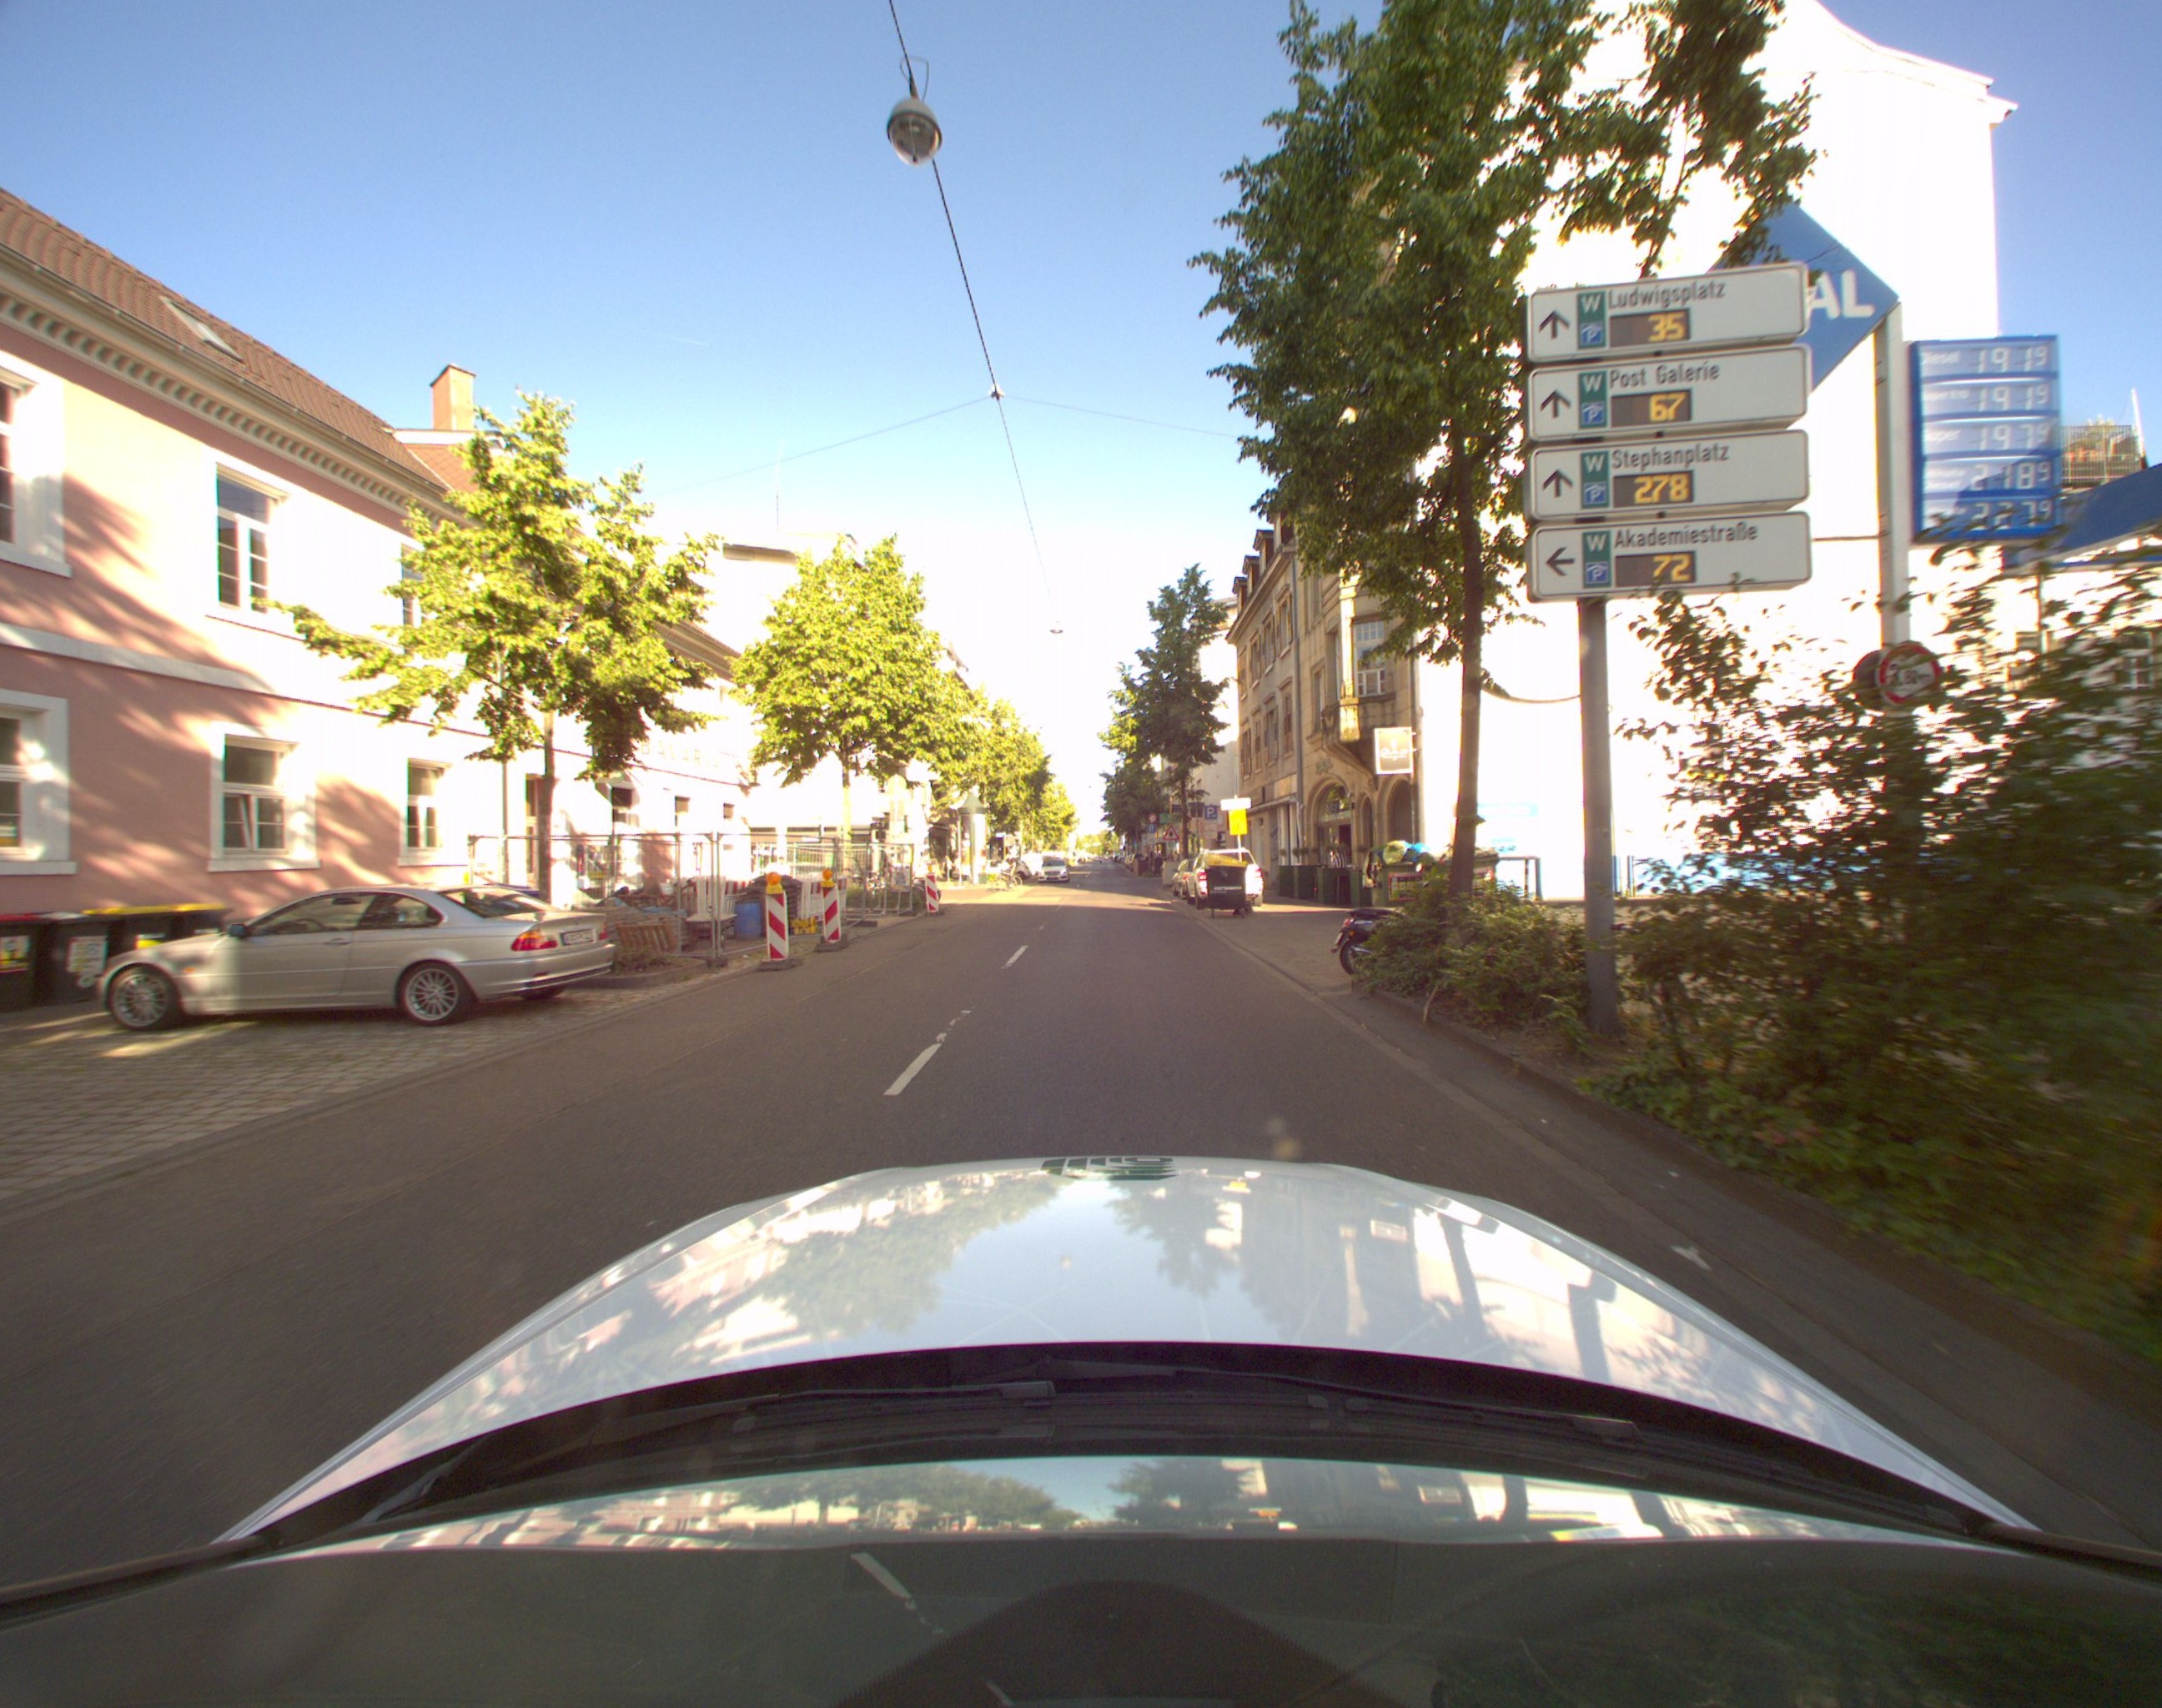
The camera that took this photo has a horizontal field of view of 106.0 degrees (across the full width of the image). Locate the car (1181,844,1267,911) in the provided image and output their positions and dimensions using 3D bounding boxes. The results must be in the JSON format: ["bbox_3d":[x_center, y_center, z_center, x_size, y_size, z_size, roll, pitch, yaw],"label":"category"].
[{"bbox_3d":[4.144,0.643,24.331,1.815,1.679,4.603,-4,0,2],"label":"car"}]

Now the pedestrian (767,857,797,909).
[{"bbox_3d":[-9.803,0.953,26.725,0.608,1.653,0.814,-2,0,5],"label":"pedestrian"}]

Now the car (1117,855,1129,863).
[{"bbox_3d":[8.095,0.973,157.212,1.986,1.508,4.001,-1,-1,1],"label":"car"}]

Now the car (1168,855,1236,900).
[{"bbox_3d":[4.322,0.784,29.650,1.816,1.391,4.301,-4,0,1],"label":"car"}]

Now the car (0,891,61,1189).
[{"bbox_3d":[-7.669,0.957,3.285,4.668,1.465,1.807,-1,0,-2],"label":"car"}]

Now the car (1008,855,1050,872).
[{"bbox_3d":[-5.228,0.972,82.320,3.974,1.500,2.000,-2,-1,0],"label":"car"}]

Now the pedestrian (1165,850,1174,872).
[{"bbox_3d":[6.953,0.553,64.162,0.546,1.649,0.663,-2,0,-5],"label":"pedestrian"}]

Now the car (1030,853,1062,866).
[{"bbox_3d":[-4.433,0.733,104.699,3.974,1.500,2.000,-2,0,0],"label":"car"}]

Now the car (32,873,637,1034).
[{"bbox_3d":[-7.604,0.965,8.692,4.668,1.412,1.807,-1,0,-2],"label":"car"}]

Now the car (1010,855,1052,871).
[{"bbox_3d":[-4.903,0.870,79.973,3.974,1.500,2.000,-2,0,0],"label":"car"}]

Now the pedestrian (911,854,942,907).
[{"bbox_3d":[-5.127,0.868,26.959,0.797,1.707,0.759,0,0,-32],"label":"pedestrian"}]

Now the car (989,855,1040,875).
[{"bbox_3d":[-5.559,0.917,68.363,3.967,1.457,1.871,-2,0,6],"label":"car"}]

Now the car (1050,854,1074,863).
[{"bbox_3d":[-3.178,0.784,138.891,3.974,1.500,2.000,-2,0,0],"label":"car"}]

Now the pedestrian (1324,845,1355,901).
[{"bbox_3d":[7.350,0.524,23.141,0.608,1.540,0.699,-2,0,1],"label":"pedestrian"}]

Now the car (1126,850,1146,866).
[{"bbox_3d":[6.005,0.392,89.218,1.986,1.609,4.001,-2,0,1],"label":"car"}]

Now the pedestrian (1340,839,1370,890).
[{"bbox_3d":[8.606,0.328,25.580,0.694,1.566,0.612,-2,0,0],"label":"pedestrian"}]

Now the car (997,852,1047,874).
[{"bbox_3d":[-5.124,0.779,71.156,3.967,1.694,2.004,-2,0,6],"label":"car"}]

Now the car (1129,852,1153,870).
[{"bbox_3d":[5.536,0.619,75.845,1.986,1.609,4.001,-2,0,1],"label":"car"}]

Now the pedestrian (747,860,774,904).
[{"bbox_3d":[-12.428,1.075,31.574,0.650,1.667,0.658,-2,0,12],"label":"pedestrian"}]

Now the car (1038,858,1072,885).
[{"bbox_3d":[-1.569,1.046,49.842,1.796,1.435,4.410,-4,0,1],"label":"car"}]

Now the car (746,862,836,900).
[{"bbox_3d":[-14.036,1.276,39.560,4.000,1.610,1.987,-2,0,-20],"label":"car"}]

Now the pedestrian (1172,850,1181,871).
[{"bbox_3d":[7.538,0.533,64.394,0.546,1.649,0.663,-2,0,-6],"label":"pedestrian"}]

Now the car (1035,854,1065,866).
[{"bbox_3d":[-4.175,0.807,110.943,3.974,1.500,2.000,-2,0,0],"label":"car"}]

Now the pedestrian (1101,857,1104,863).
[{"bbox_3d":[3.968,1.168,152.068,0.544,1.026,0.546,-2,0,-1],"label":"pedestrian"}]

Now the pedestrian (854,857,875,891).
[{"bbox_3d":[-10.777,0.995,40.600,0.767,1.643,0.691,-2,0,6],"label":"pedestrian"}]

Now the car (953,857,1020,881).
[{"bbox_3d":[-6.057,0.952,52.464,3.974,1.390,2.000,-2,0,0],"label":"car"}]

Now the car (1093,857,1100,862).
[{"bbox_3d":[4.280,1.545,224.749,1.786,1.411,4.001,-2,0,1],"label":"car"}]

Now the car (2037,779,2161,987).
[{"bbox_3d":[9.423,0.200,5.109,1.893,1.648,4.297,-2,0,3],"label":"car"}]

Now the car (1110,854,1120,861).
[{"bbox_3d":[7.389,0.828,176.821,1.986,1.508,4.001,-1,-1,1],"label":"car"}]

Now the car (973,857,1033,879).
[{"bbox_3d":[-5.551,0.981,58.245,3.974,1.390,2.000,-2,0,0],"label":"car"}]

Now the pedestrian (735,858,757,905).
[{"bbox_3d":[-12.796,1.028,31.132,0.655,1.760,0.653,-2,0,-17],"label":"pedestrian"}]
